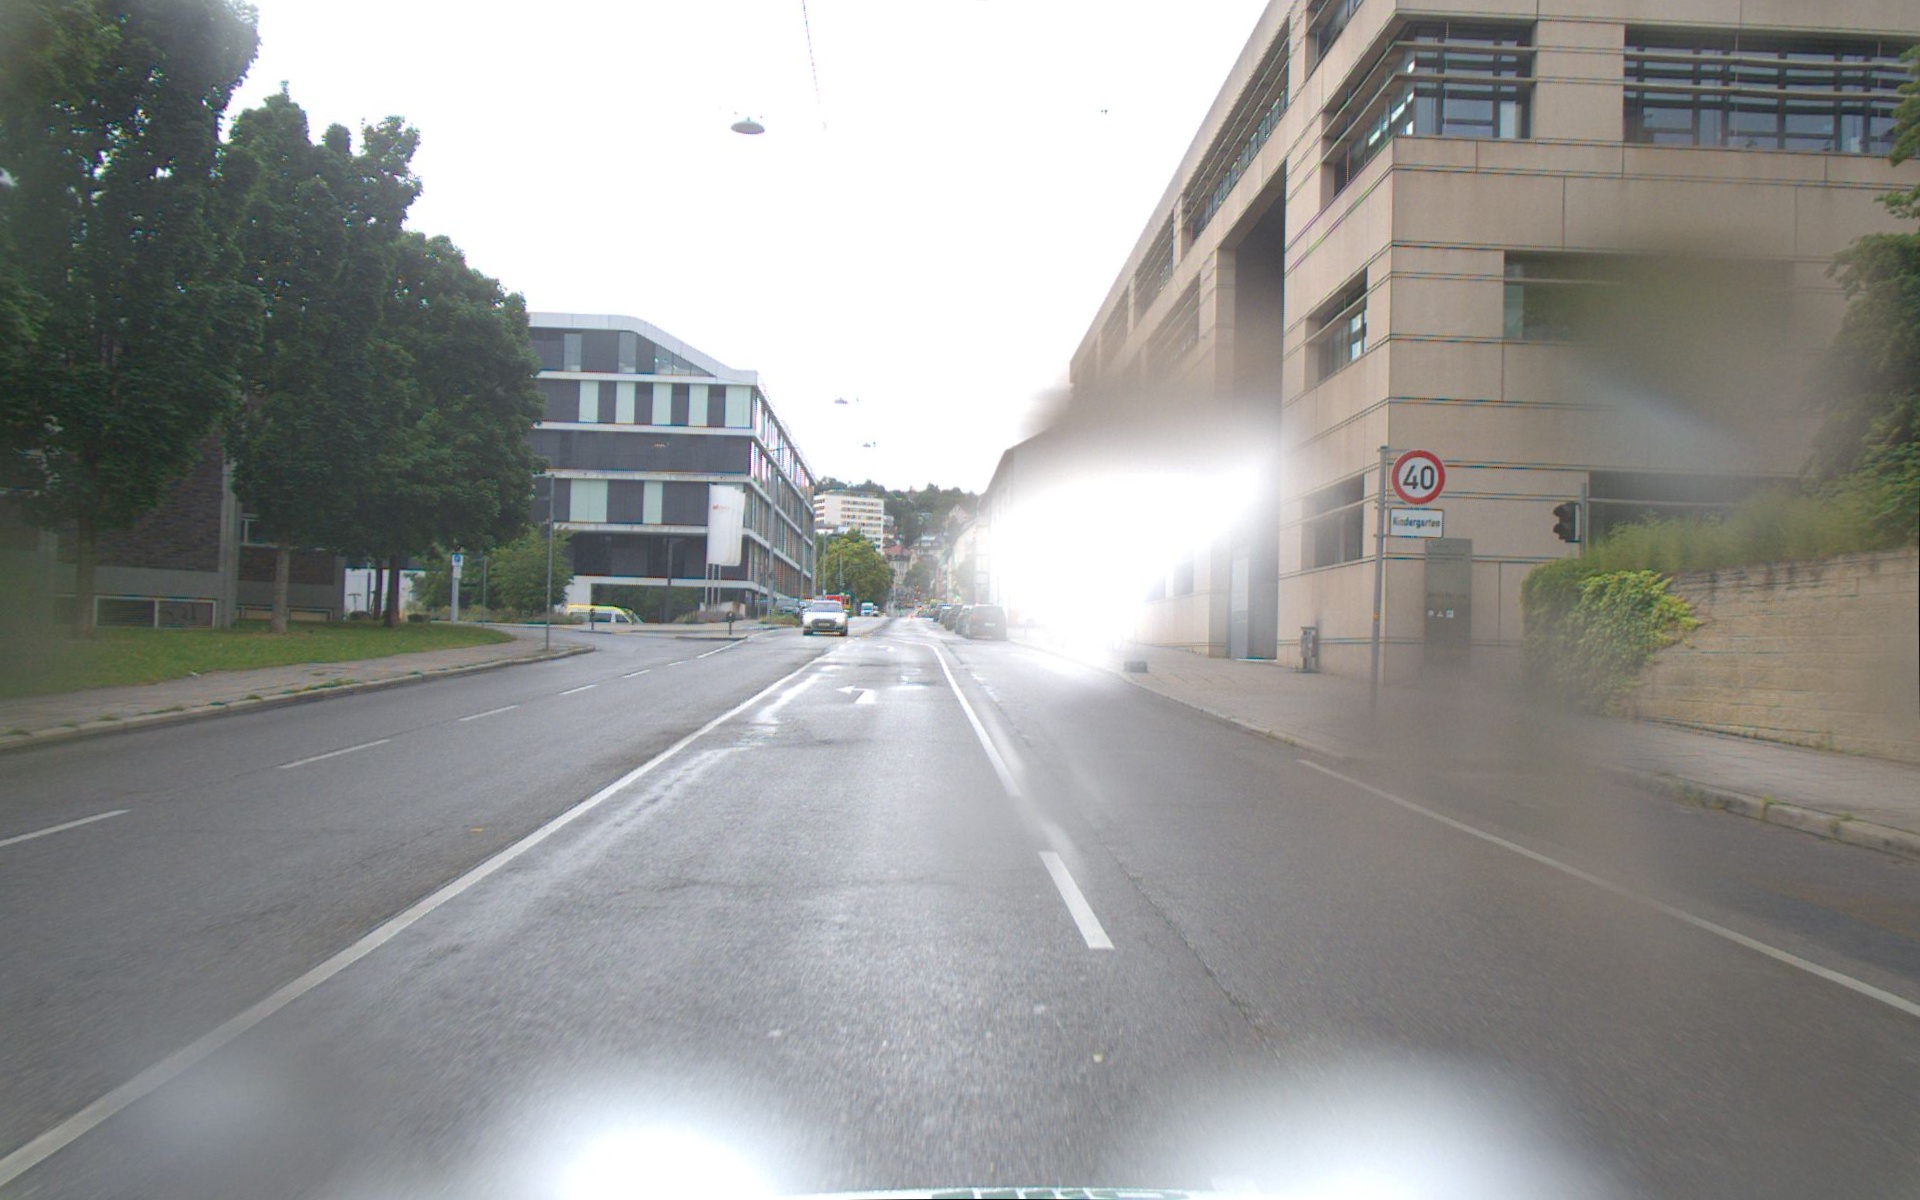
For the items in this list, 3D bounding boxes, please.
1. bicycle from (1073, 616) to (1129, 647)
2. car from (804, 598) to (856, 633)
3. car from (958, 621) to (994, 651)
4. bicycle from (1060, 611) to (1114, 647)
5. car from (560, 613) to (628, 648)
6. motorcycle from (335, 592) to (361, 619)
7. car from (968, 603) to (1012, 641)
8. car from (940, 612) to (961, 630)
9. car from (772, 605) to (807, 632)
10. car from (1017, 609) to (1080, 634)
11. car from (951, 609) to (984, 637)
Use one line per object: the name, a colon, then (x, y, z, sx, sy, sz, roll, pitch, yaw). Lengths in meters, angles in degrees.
bicycle: (4.654, 1.039, 54.641, 1.724, 0.970, 0.659, 2, -2, -5)
car: (-5.789, 0.688, 74.307, 1.843, 1.517, 5.219, 0, -1, 1)
car: (0.865, 2.065, 94.304, 1.708, 1.560, 4.316, 3, -1, -3)
bicycle: (4.279, 0.981, 55.609, 1.696, 1.138, 0.658, 2, -2, -7)
car: (-26.012, 2.175, 117.684, 4.504, 2.212, 1.928, 3, -2, -8)
motorcycle: (-25.740, 0.235, 69.578, 1.147, 1.145, 0.411, 0, -3, 36)
car: (1.395, 1.059, 78.326, 1.736, 1.632, 4.391, 3, -1, -3)
car: (-0.810, 1.823, 145.380, 1.672, 1.480, 3.982, 3, -1, -2)
car: (-10.877, 1.203, 105.925, 1.812, 1.646, 4.489, 3, -1, -2)
car: (6.388, 1.550, 119.932, 4.349, 1.743, 1.904, -1, -1, -3)
car: (0.480, 1.572, 110.901, 1.897, 1.781, 4.794, 3, -1, -2)
